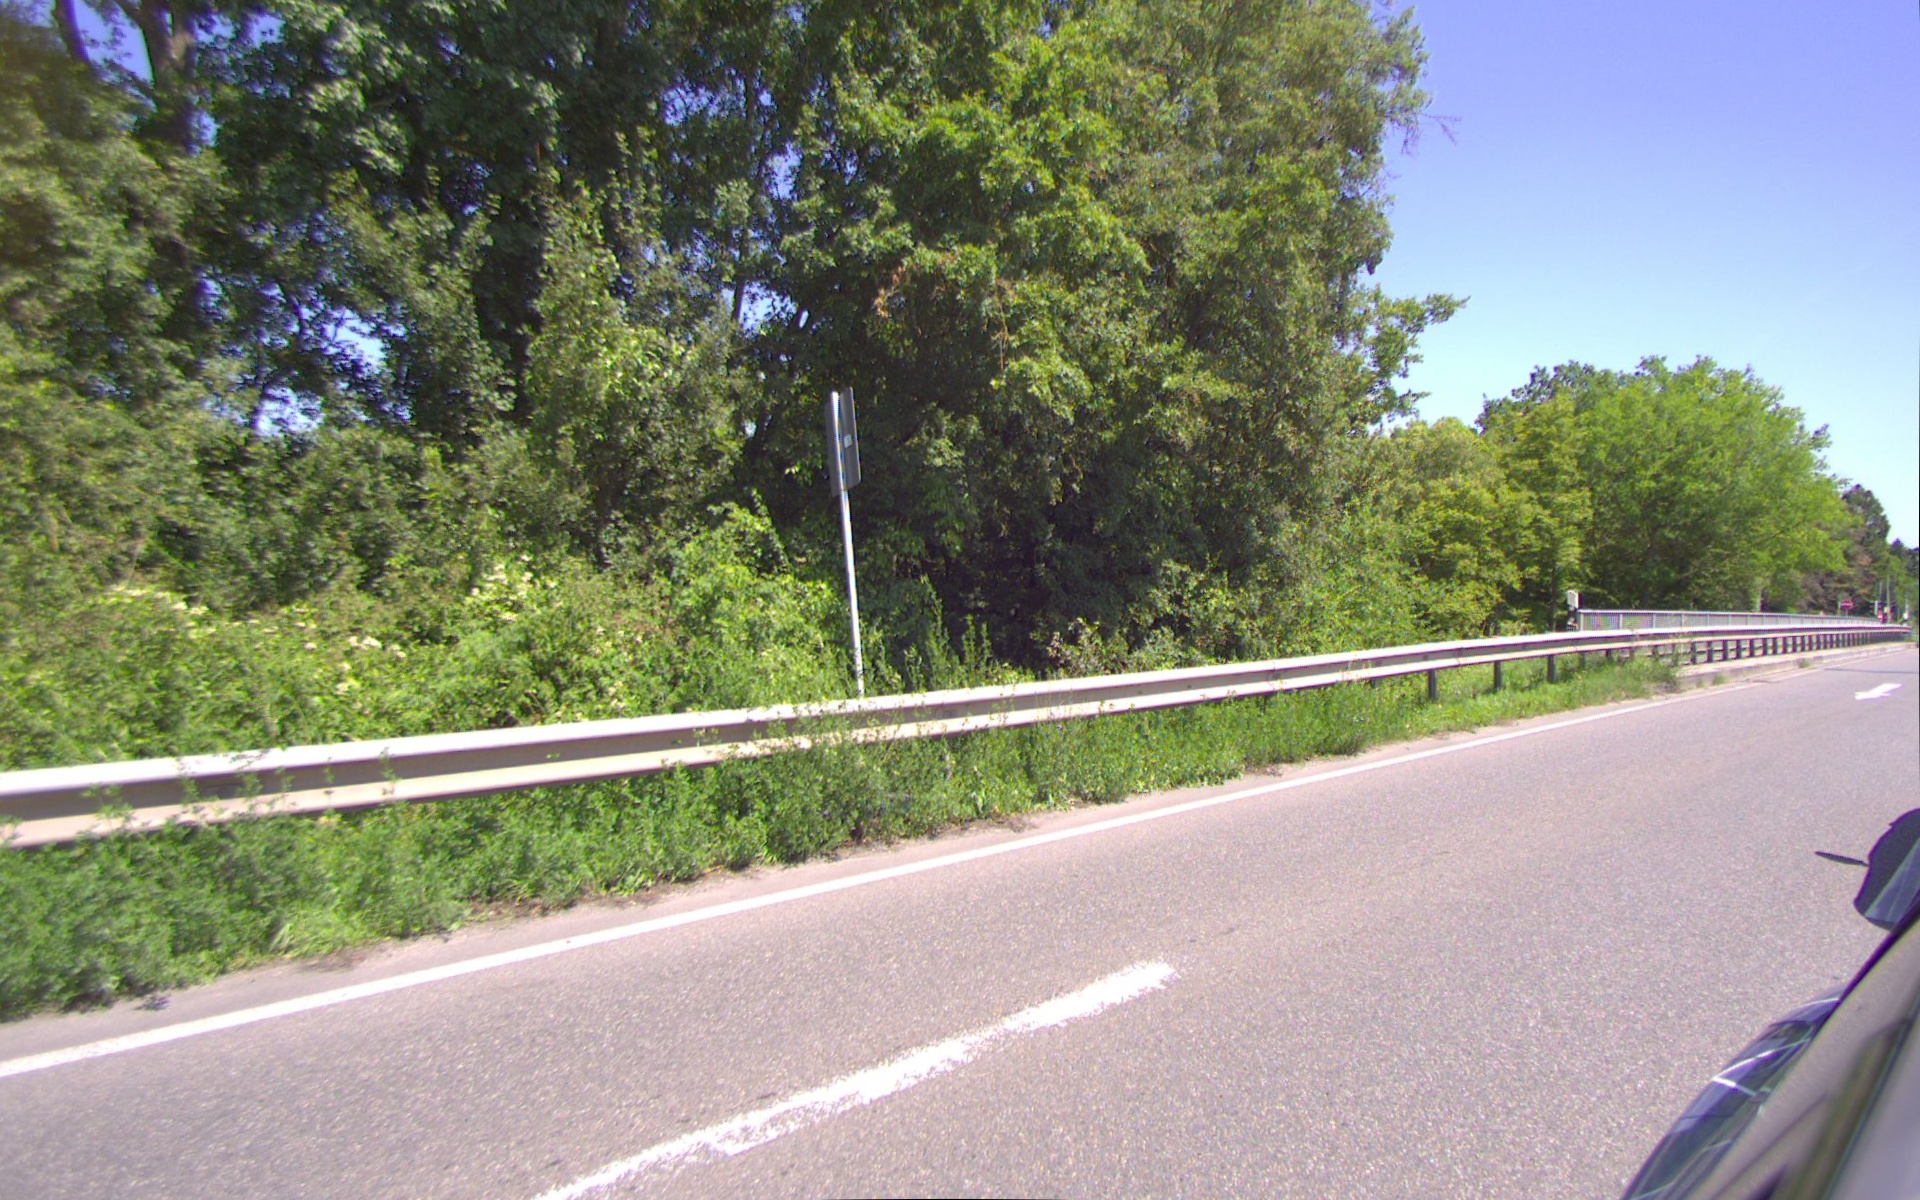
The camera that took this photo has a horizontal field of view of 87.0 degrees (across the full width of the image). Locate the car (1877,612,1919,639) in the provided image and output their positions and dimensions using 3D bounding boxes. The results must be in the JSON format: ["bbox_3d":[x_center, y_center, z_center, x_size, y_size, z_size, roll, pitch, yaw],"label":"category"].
[{"bbox_3d":[79.366,2.136,84.520,1.963,2.039,3.999,1,1,2],"label":"car"}]
